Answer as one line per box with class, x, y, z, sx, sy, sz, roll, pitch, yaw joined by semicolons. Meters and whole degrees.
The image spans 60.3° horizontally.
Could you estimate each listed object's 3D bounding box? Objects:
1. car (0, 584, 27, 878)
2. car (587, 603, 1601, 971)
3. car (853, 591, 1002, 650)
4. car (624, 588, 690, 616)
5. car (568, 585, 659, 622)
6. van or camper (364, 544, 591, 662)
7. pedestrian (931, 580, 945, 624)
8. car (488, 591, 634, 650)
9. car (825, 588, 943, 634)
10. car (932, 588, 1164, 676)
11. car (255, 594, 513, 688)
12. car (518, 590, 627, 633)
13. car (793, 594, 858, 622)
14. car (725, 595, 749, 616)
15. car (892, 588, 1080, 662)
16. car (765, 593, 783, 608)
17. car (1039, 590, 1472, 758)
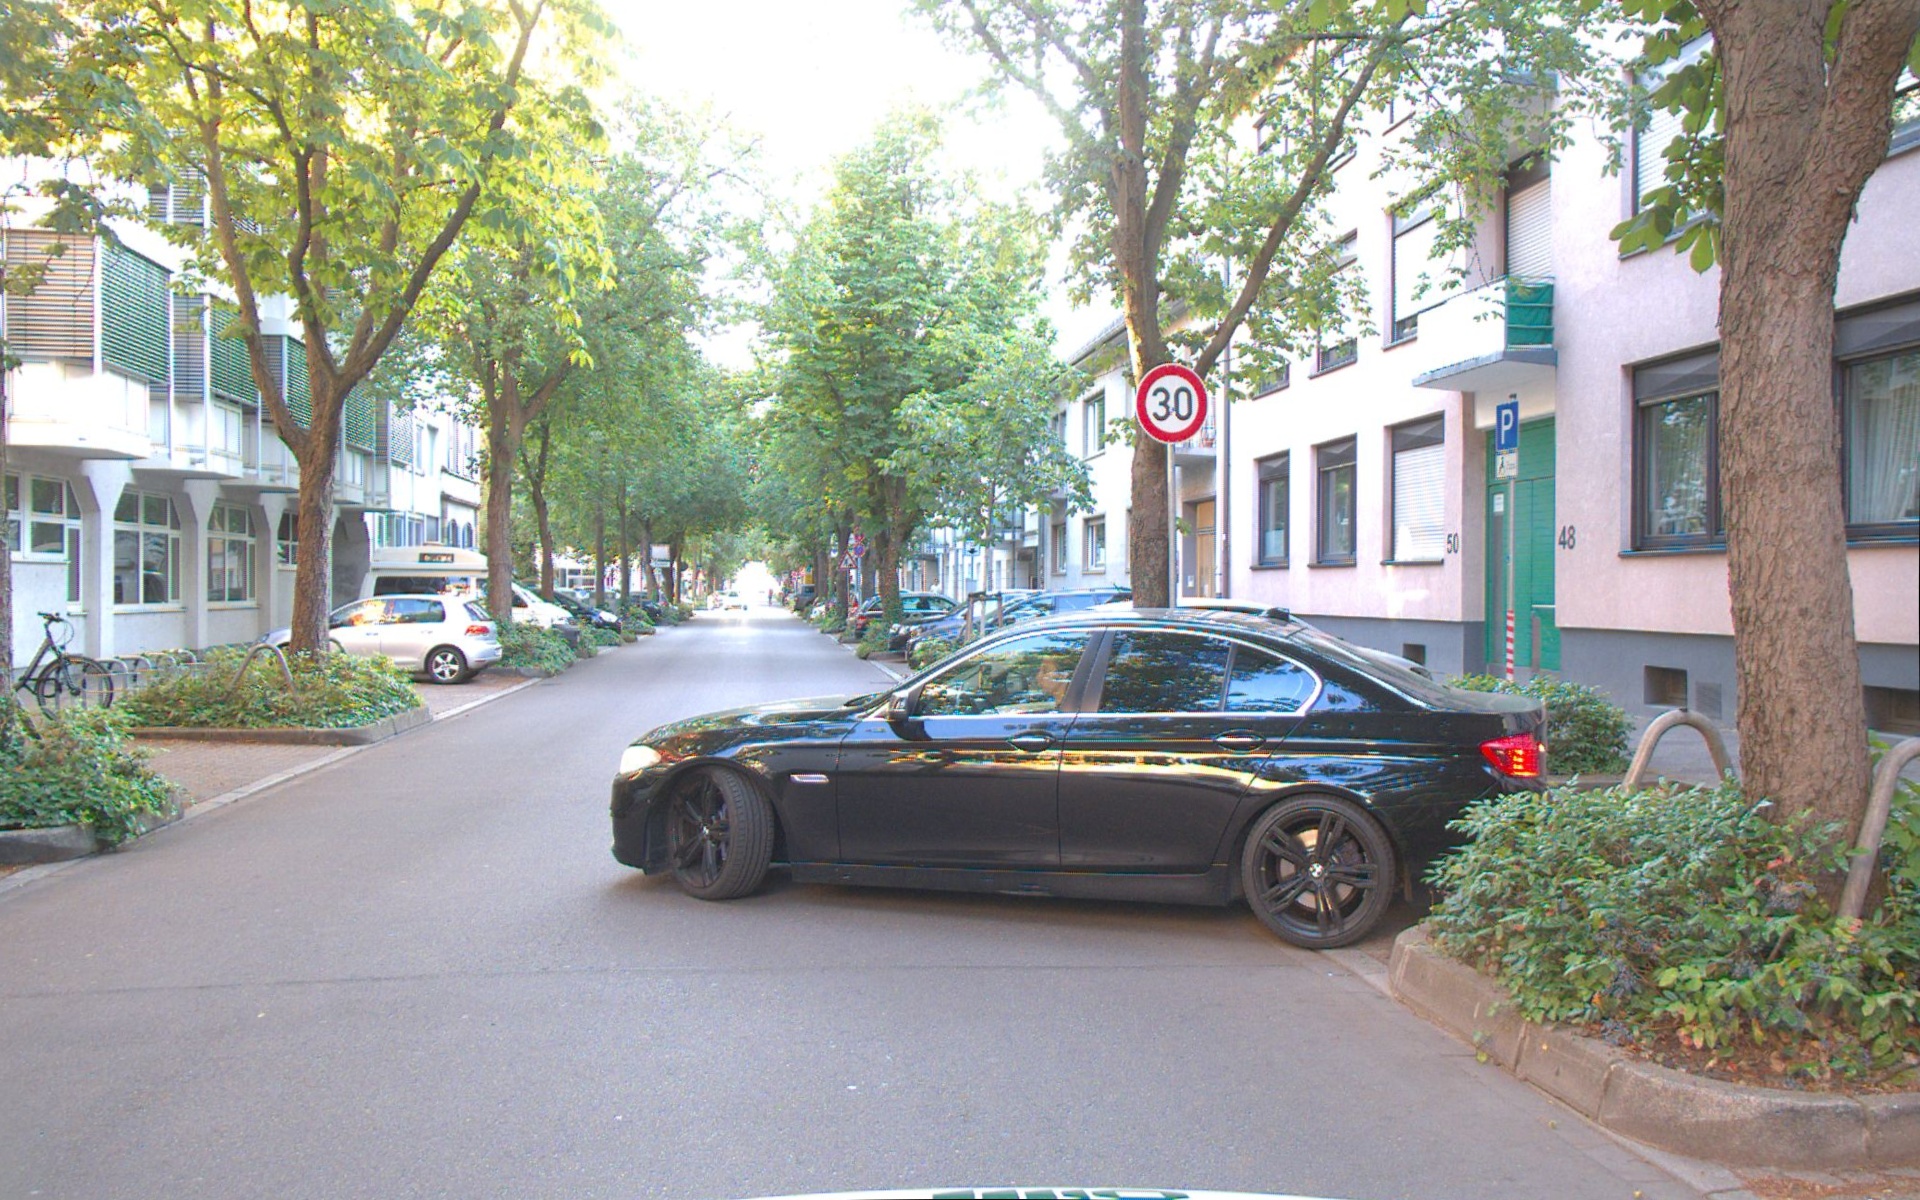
car;-7.109;0.702;7.865;4.272;1.544;1.782;0;0;-7
car;0.652;0.776;8.336;4.644;1.506;1.801;0;0;16
car;-0.913;0.537;44.935;3.893;1.554;1.782;0;0;-8
car;-18.749;0.116;102.448;3.891;1.647;1.783;0;0;-6
car;-15.870;0.165;75.913;3.891;1.647;1.783;0;0;-6
van or camper;-10.677;0.054;36.878;4.575;2.521;1.997;0;0;-7
pedestrian;-1.019;0.080;76.947;0.577;2.049;0.669;0;0;-6
car;-11.496;0.563;47.856;3.892;1.647;1.783;0;0;-6
car;-2.633;0.366;56.775;3.894;1.554;1.782;0;0;-9
car;1.545;0.538;29.702;3.894;1.502;1.781;0;0;-9
car;-9.867;0.670;28.576;3.892;1.544;1.783;0;0;-6
car;-15.017;0.440;64.269;3.891;1.647;1.783;0;0;-6
car;-8.171;0.472;100.641;3.891;1.713;1.783;0;0;-6
car;-17.332;0.428;128.482;1.745;1.589;4.162;0;0;-6
car;0.538;0.528;36.146;3.893;1.554;1.782;0;0;-8
car;-19.258;0.067;171.601;1.787;1.557;3.995;-1;0;-6
car;2.807;0.666;16.105;3.836;1.502;1.661;0;0;-9
